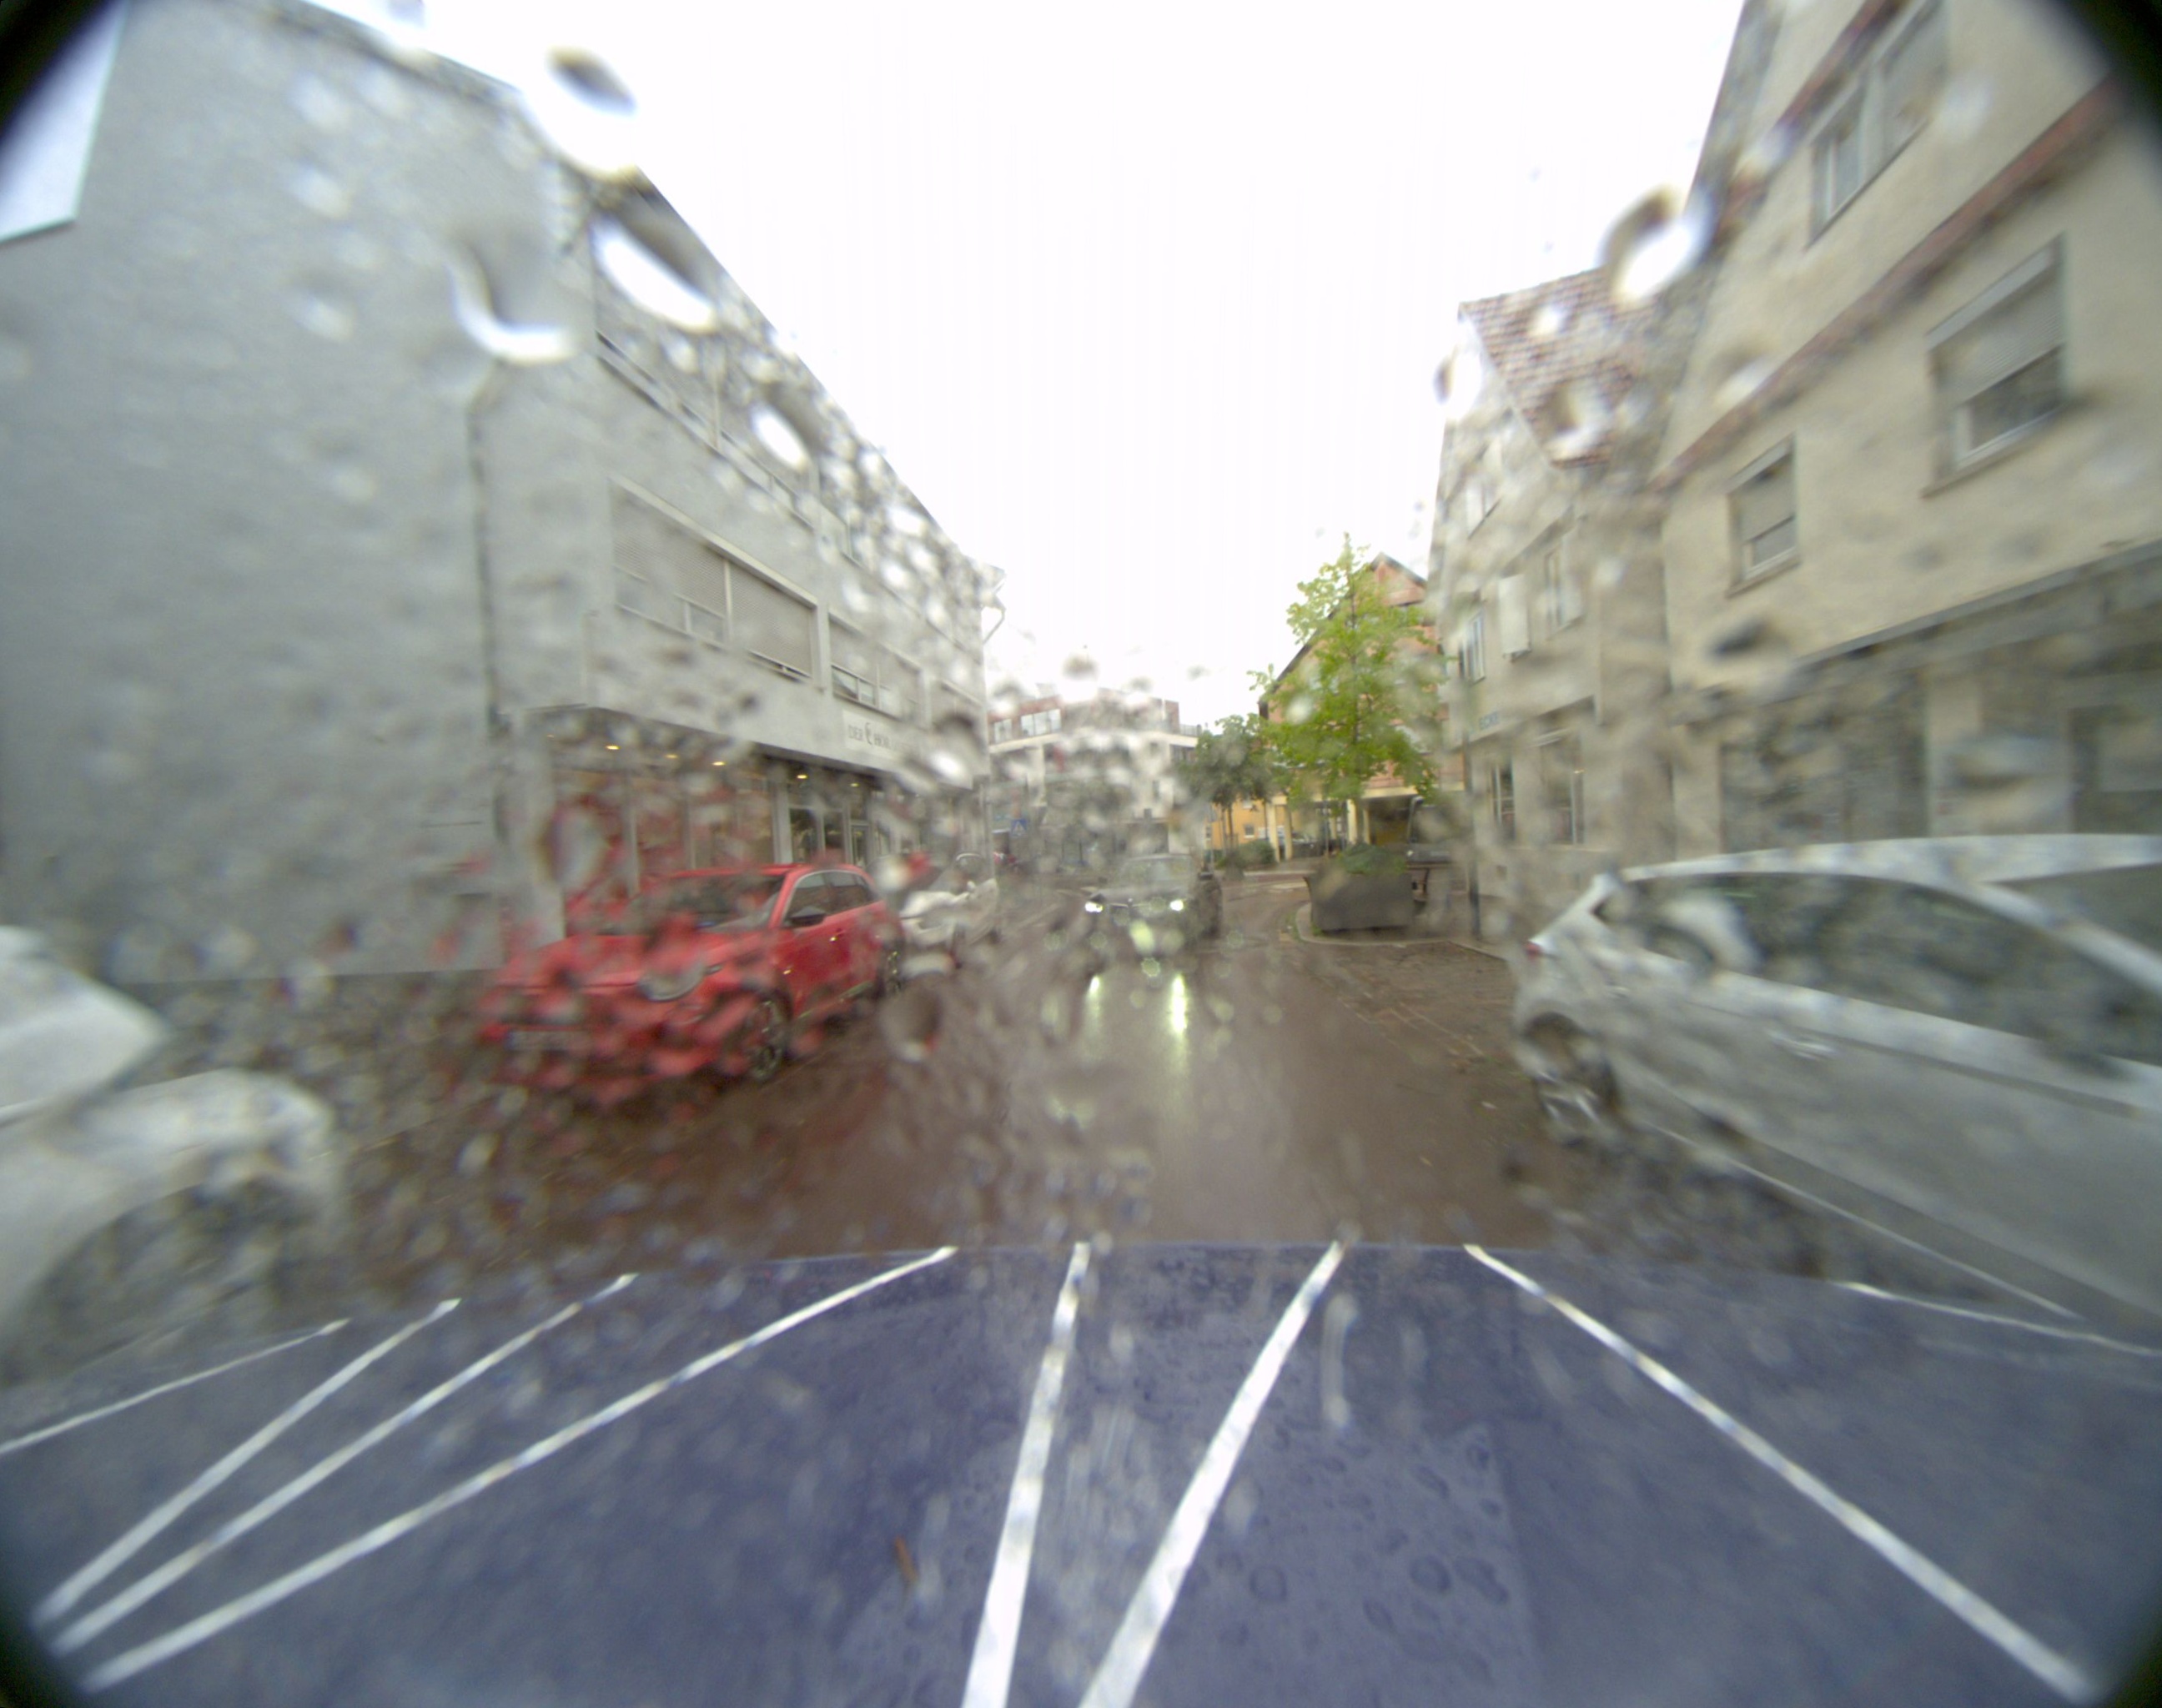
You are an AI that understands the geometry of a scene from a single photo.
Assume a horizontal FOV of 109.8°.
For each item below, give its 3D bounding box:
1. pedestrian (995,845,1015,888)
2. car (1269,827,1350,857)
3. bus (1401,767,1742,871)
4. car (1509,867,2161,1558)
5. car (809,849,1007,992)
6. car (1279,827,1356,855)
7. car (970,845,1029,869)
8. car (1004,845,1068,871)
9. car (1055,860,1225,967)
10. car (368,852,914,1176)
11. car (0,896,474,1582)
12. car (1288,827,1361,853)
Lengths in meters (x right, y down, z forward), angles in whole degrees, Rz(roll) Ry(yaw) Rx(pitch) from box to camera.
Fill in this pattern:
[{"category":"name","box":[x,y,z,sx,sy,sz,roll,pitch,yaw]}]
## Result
[{"category":"pedestrian","box":[-3.336,0.543,33.359,0.673,1.801,0.679,-3,2,-20]},{"category":"car","box":[12.824,-0.676,42.644,3.990,1.477,2.003,-2,1,28]},{"category":"bus","box":[18.201,-1.192,29.315,10.668,3.281,2.683,-2,1,24]},{"category":"car","box":[3.197,0.816,2.151,1.694,1.414,3.816,-3,0,-2]},{"category":"car","box":[-2.387,0.829,11.676,1.693,1.680,4.279,-2,1,4]},{"category":"car","box":[13.980,-0.766,44.896,3.990,1.477,2.003,-2,1,28]},{"category":"car","box":[-5.820,0.245,54.201,3.989,1.565,1.722,-2,2,36]},{"category":"car","box":[-2.990,0.266,50.595,3.989,1.565,1.722,-2,2,36]},{"category":"car","box":[1.279,0.910,13.493,1.996,1.398,4.899,-3,0,16]},{"category":"car","box":[-2.887,0.895,6.152,1.693,1.680,3.959,-2,1,7]},{"category":"car","box":[-3.546,1.014,0.907,1.693,1.530,4.404,-2,1,7]},{"category":"car","box":[15.270,-0.870,47.609,3.990,1.477,2.003,-2,1,28]}]
